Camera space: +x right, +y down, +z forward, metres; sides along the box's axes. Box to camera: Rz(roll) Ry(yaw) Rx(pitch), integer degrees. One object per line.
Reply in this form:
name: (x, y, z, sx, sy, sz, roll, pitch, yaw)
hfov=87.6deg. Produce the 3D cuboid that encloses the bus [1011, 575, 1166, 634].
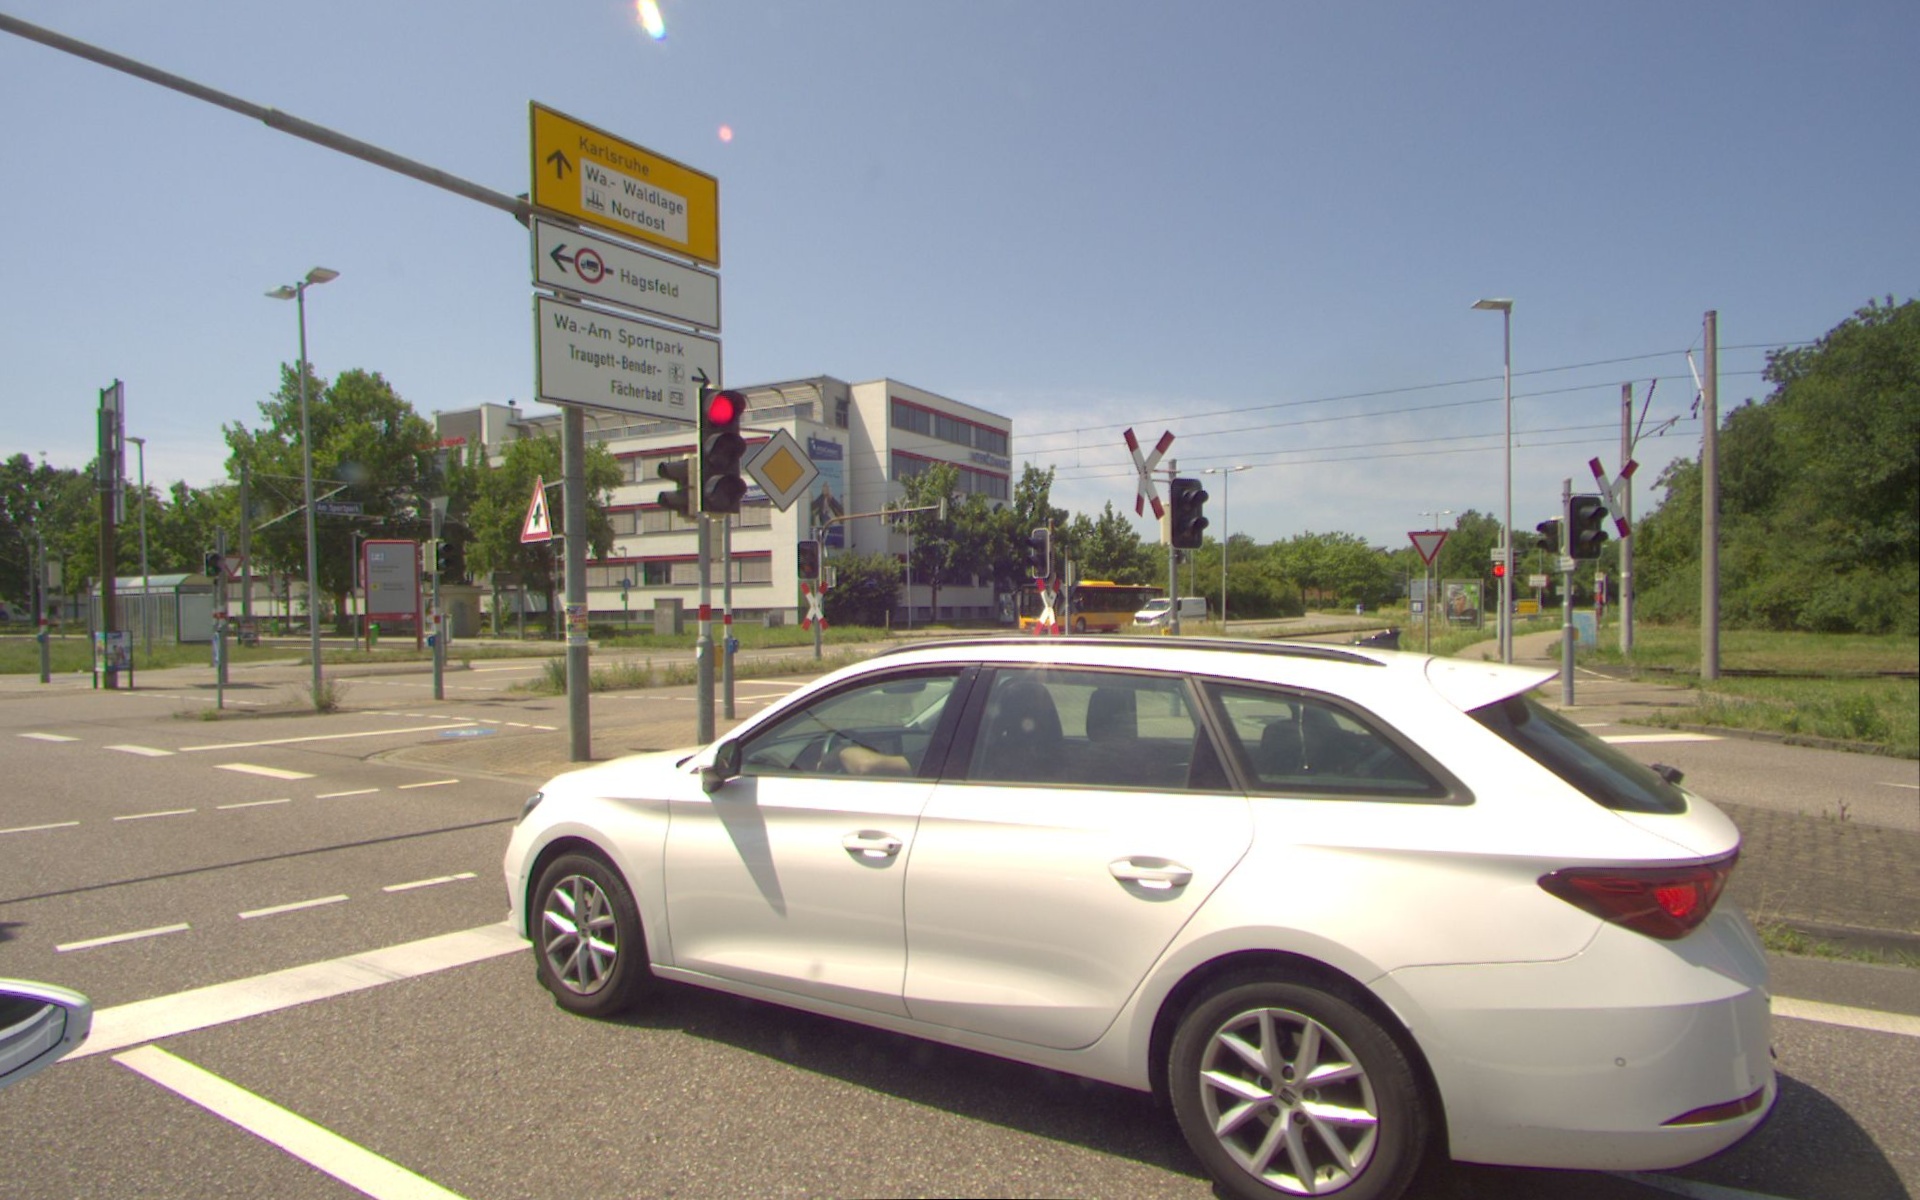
bus: (7.927, 0.354, 59.560, 2.808, 3.159, 11.977, -1, -2, 42)

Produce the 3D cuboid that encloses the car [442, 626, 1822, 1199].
car: (0.166, 0.823, 3.751, 4.384, 1.408, 1.680, 0, -1, 30)

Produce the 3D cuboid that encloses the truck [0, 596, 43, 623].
truck: (-105.123, 1.043, 110.064, 2.283, 2.881, 5.837, -1, 1, 26)

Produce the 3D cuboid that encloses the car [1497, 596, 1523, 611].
car: (59.113, 0.404, 107.636, 1.654, 1.601, 3.968, 1, 0, 41)

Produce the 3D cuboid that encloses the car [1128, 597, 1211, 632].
car: (11.228, 0.807, 53.485, 5.021, 1.750, 1.811, 2, -2, -42)
